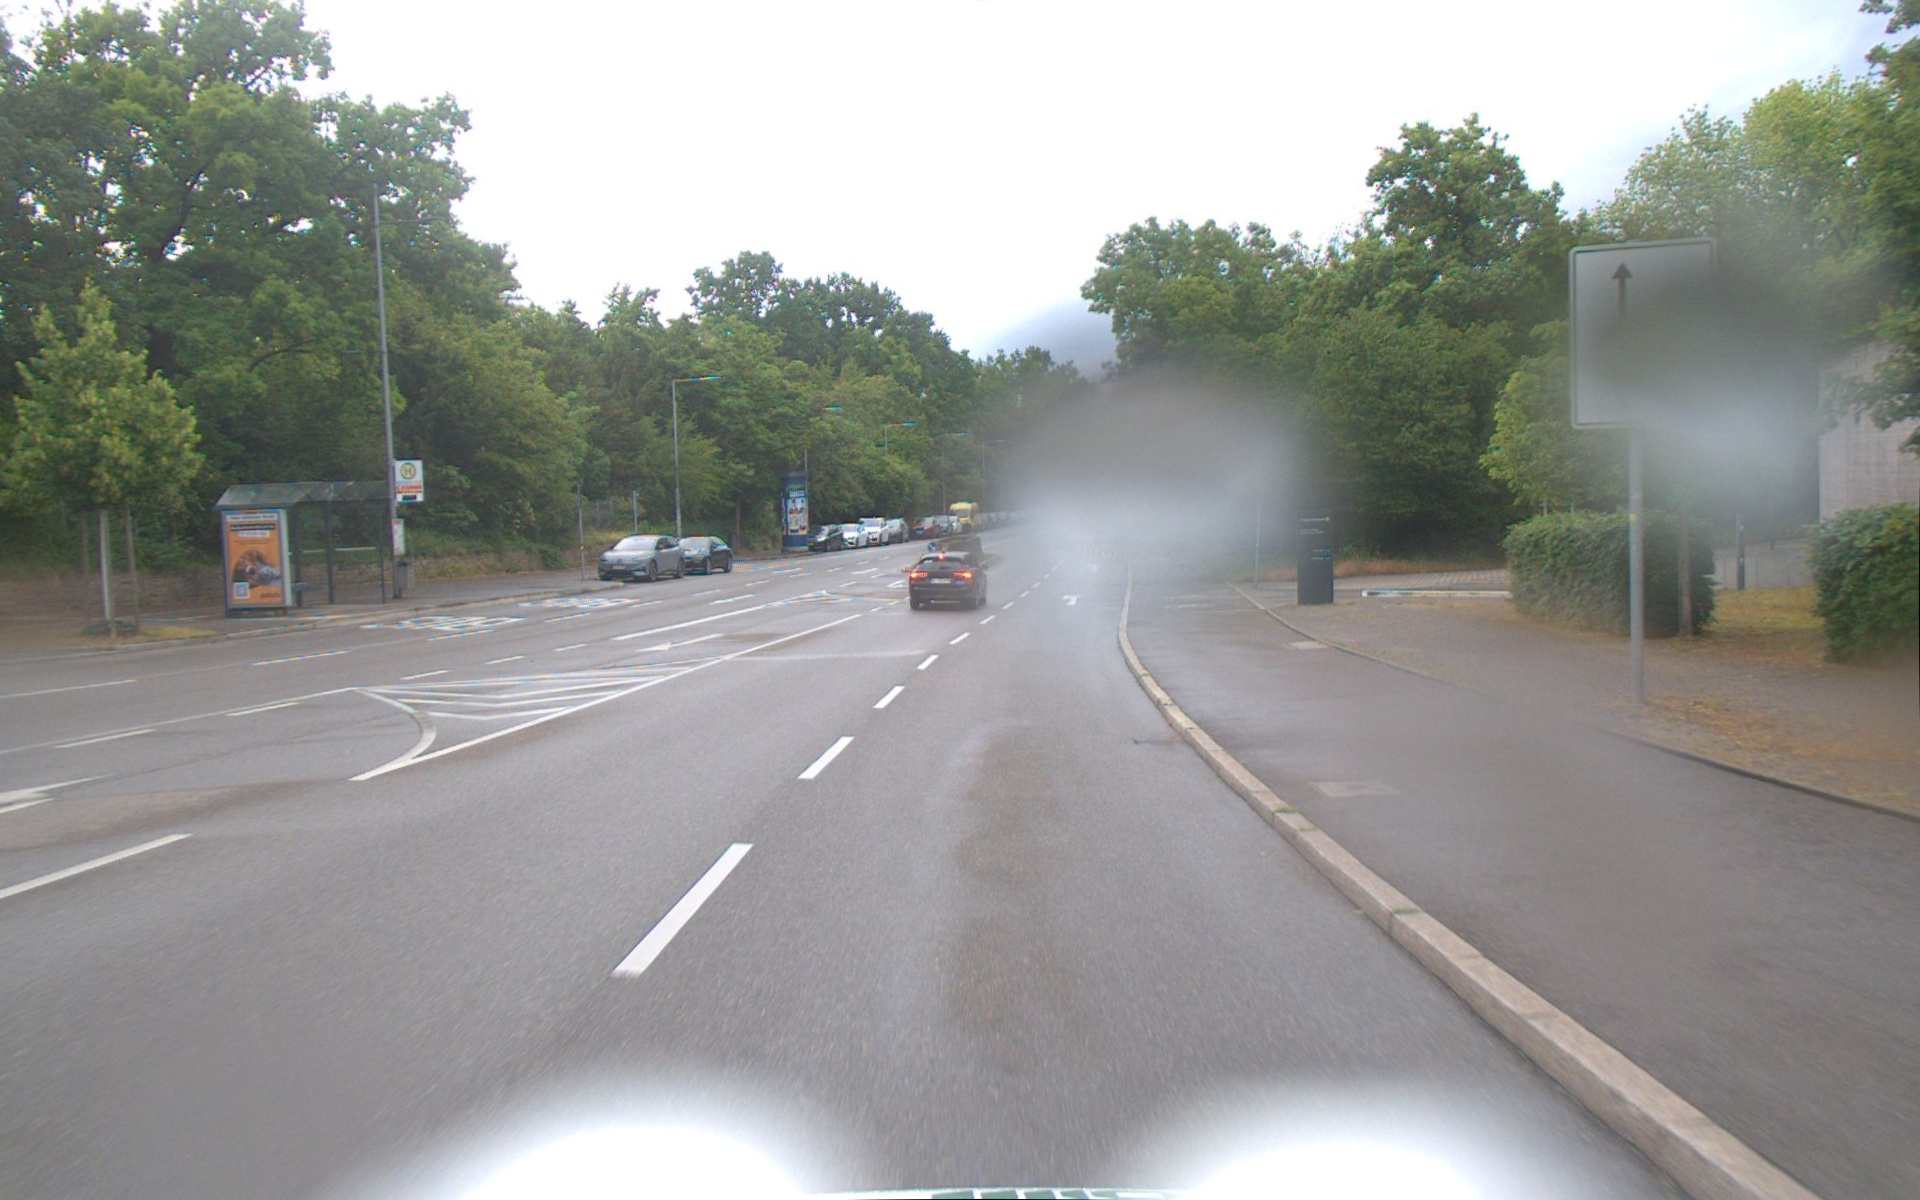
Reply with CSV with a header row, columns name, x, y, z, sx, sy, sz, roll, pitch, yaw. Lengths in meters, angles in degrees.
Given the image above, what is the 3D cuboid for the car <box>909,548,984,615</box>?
name,x,y,z,sx,sy,sz,roll,pitch,yaw
car,-0.343,-0.519,43.171,1.842,1.491,4.002,1,4,0

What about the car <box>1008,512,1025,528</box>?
name,x,y,z,sx,sy,sz,roll,pitch,yaw
car,5.952,-8.382,173.073,1.429,1.598,2.988,-1,4,8

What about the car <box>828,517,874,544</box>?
name,x,y,z,sx,sy,sz,roll,pitch,yaw
car,-6.471,-4.147,98.614,1.682,1.485,4.714,-1,4,9

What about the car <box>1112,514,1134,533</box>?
name,x,y,z,sx,sy,sz,roll,pitch,yaw
car,13.889,-6.546,140.887,1.783,1.511,4.204,1,3,6

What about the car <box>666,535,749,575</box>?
name,x,y,z,sx,sy,sz,roll,pitch,yaw
car,-9.738,-1.785,64.173,1.865,1.438,4.788,0,3,8

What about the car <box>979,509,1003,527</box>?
name,x,y,z,sx,sy,sz,roll,pitch,yaw
car,2.960,-7.758,156.201,1.568,1.536,3.982,-1,4,10

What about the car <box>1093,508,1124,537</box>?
name,x,y,z,sx,sy,sz,roll,pitch,yaw
car,8.882,-4.657,99.115,1.783,1.642,4.256,0,3,5

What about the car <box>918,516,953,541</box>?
name,x,y,z,sx,sy,sz,roll,pitch,yaw
car,-1.869,-5.534,127.777,1.951,1.729,4.621,-1,4,7

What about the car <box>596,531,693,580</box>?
name,x,y,z,sx,sy,sz,roll,pitch,yaw
car,-11.010,-1.599,58.057,1.801,1.616,4.934,0,3,8

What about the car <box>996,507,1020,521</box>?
name,x,y,z,sx,sy,sz,roll,pitch,yaw
car,4.852,-8.603,165.393,1.830,1.326,4.476,-1,4,9

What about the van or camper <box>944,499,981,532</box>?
name,x,y,z,sx,sy,sz,roll,pitch,yaw
van or camper,0.217,-7.202,140.269,2.098,2.672,5.690,-1,4,10

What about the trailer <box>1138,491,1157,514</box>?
name,x,y,z,sx,sy,sz,roll,pitch,yaw
trailer,21.939,-11.412,193.649,2.086,2.604,4.303,-1,4,7

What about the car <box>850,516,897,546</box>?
name,x,y,z,sx,sy,sz,roll,pitch,yaw
car,-5.445,-4.396,104.527,1.951,1.795,4.966,0,3,8

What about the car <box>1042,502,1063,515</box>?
name,x,y,z,sx,sy,sz,roll,pitch,yaw
car,11.323,-11.169,202.235,1.951,1.513,4.474,0,4,10

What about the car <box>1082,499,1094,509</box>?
name,x,y,z,sx,sy,sz,roll,pitch,yaw
car,20.022,-14.937,257.956,1.637,1.539,3.635,0,4,9

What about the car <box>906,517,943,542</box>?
name,x,y,z,sx,sy,sz,roll,pitch,yaw
car,-2.630,-5.268,123.173,1.878,1.644,4.496,-1,3,10

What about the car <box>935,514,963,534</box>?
name,x,y,z,sx,sy,sz,roll,pitch,yaw
car,-0.893,-6.160,133.222,1.583,1.473,3.662,-2,4,10

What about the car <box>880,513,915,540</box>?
name,x,y,z,sx,sy,sz,roll,pitch,yaw
car,-4.171,-4.974,111.620,1.694,1.677,4.576,0,4,6

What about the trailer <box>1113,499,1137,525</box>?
name,x,y,z,sx,sy,sz,roll,pitch,yaw
trailer,14.715,-7.879,147.713,1.865,2.286,4.774,0,4,9

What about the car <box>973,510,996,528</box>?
name,x,y,z,sx,sy,sz,roll,pitch,yaw
car,2.228,-7.386,150.906,1.568,1.536,3.143,-1,4,10

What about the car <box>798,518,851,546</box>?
name,x,y,z,sx,sy,sz,roll,pitch,yaw
car,-7.554,-3.822,92.618,1.711,1.470,4.593,0,4,11
